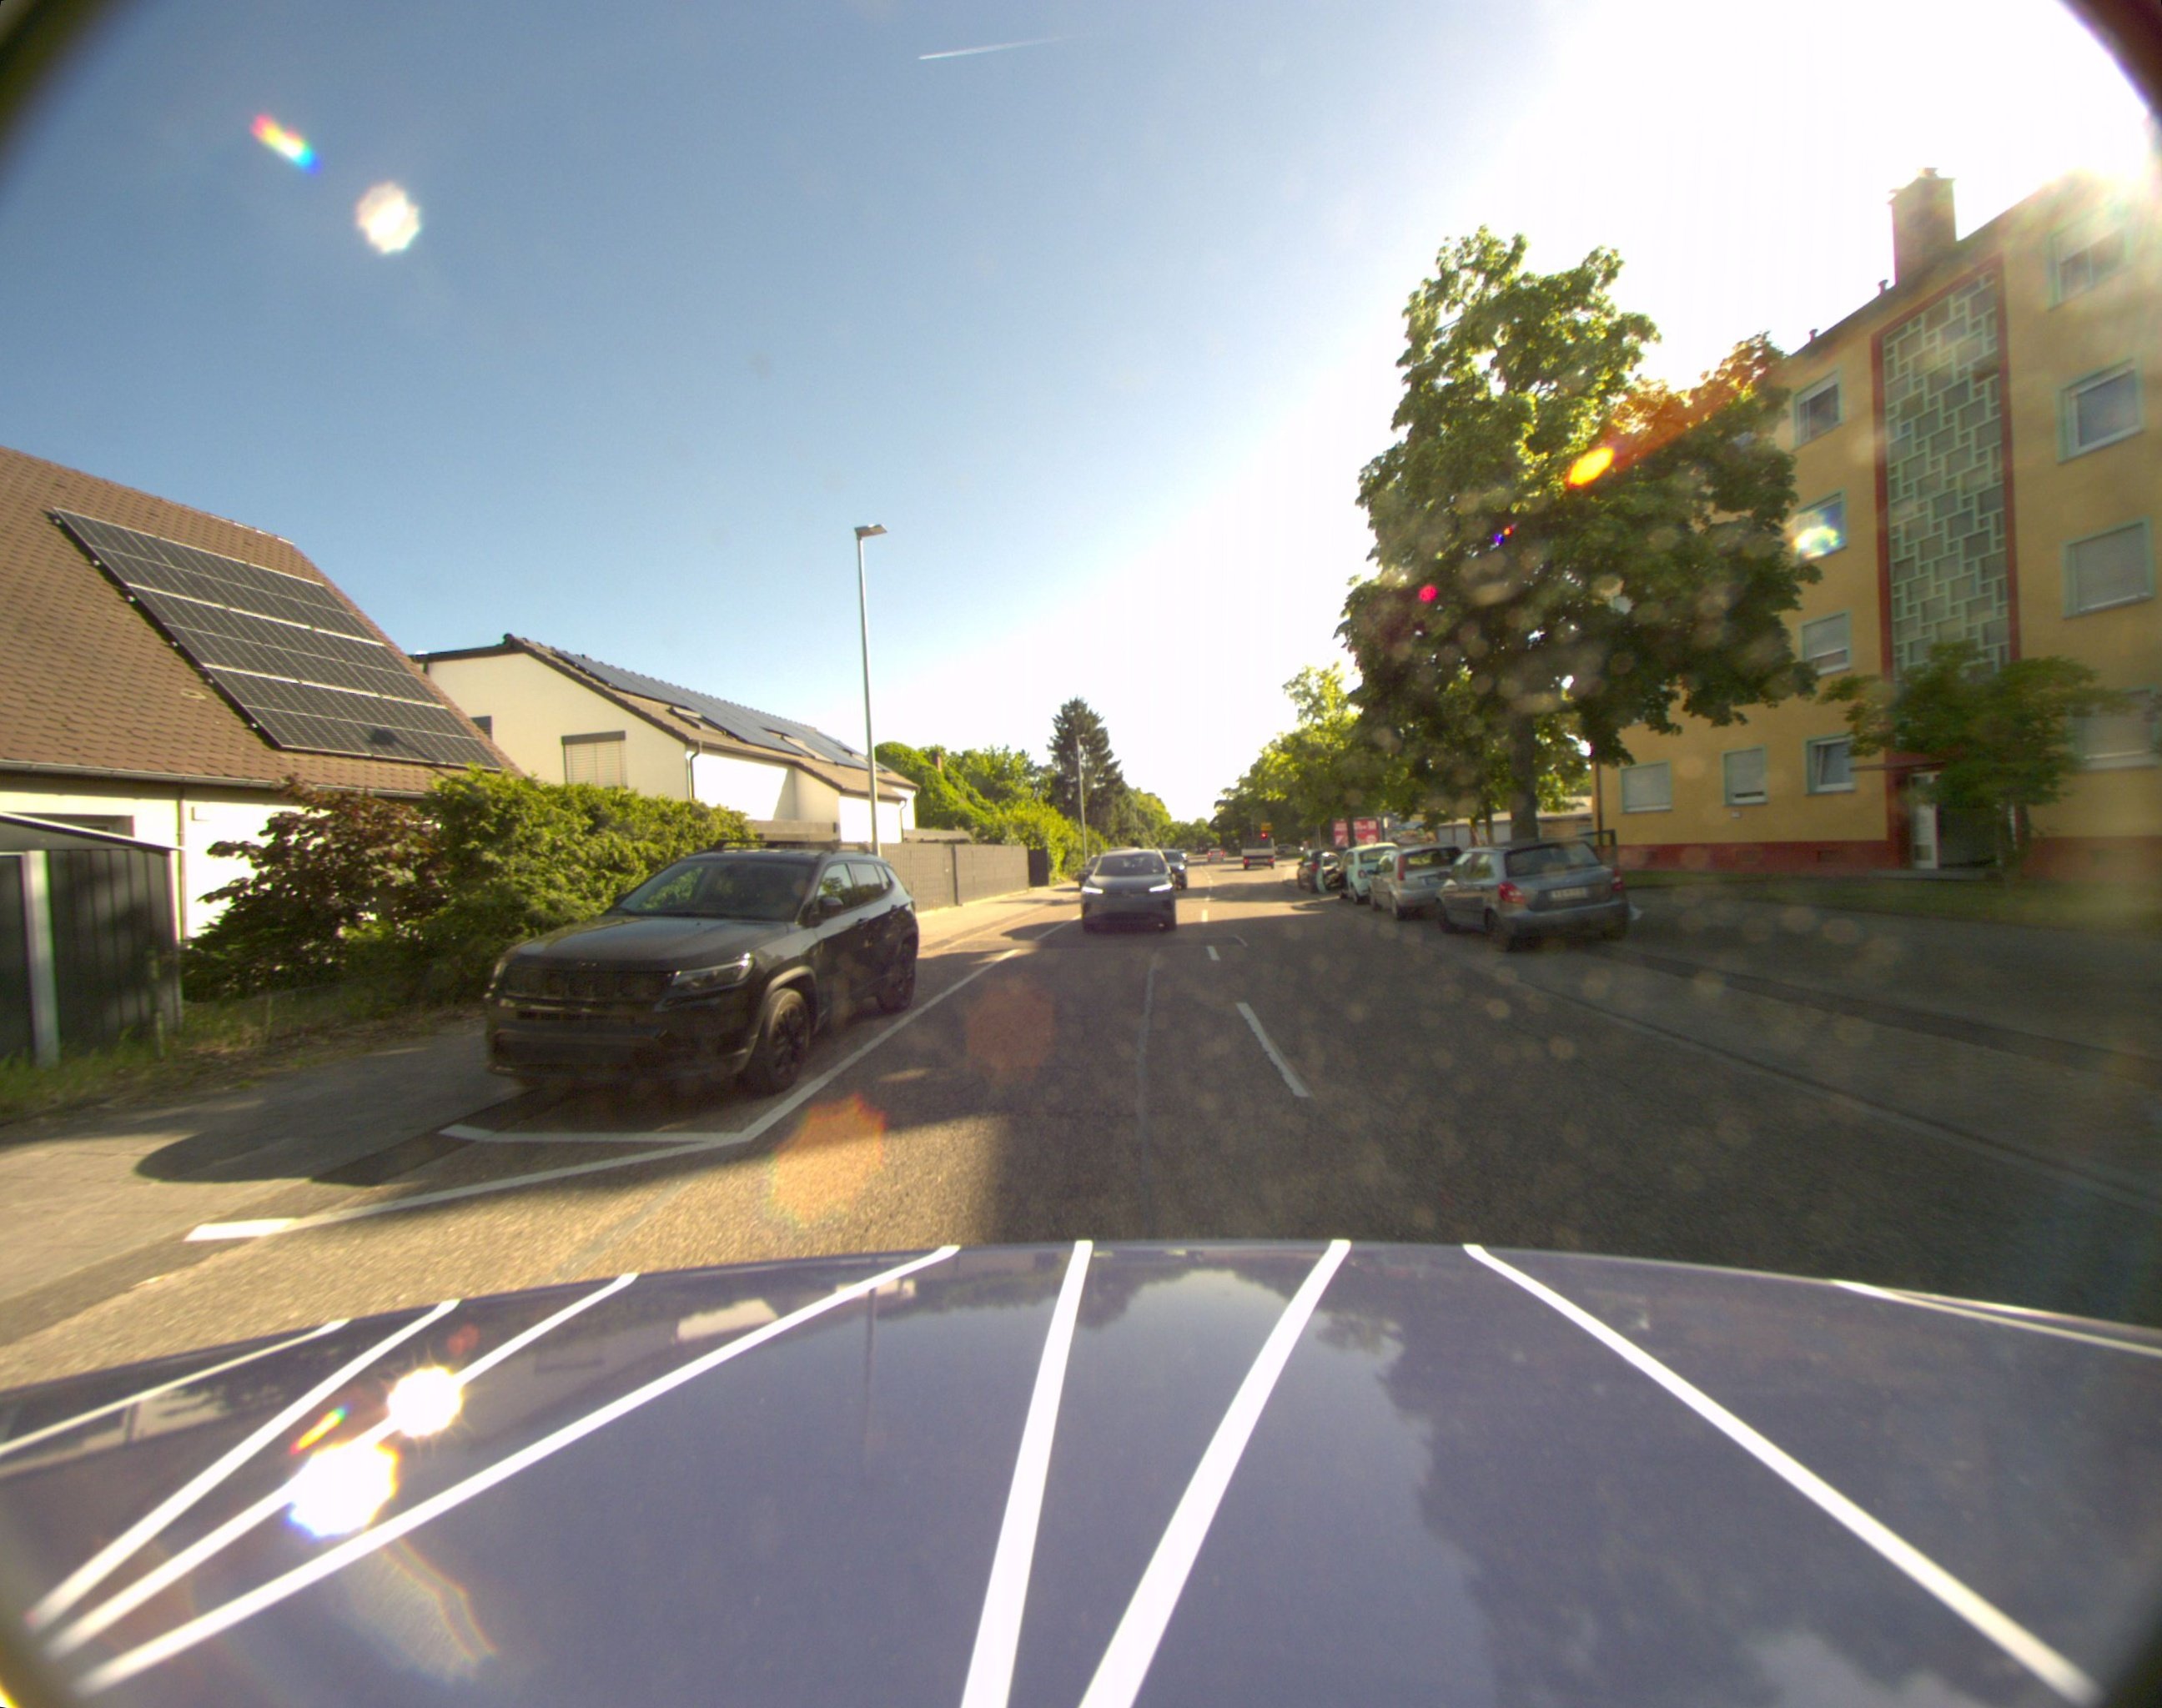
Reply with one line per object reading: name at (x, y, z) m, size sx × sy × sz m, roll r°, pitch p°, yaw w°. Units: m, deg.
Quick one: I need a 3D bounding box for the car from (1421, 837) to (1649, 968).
car at (6.617, 0.618, 11.590) m, size 1.570 × 1.521 × 3.921 m, roll -6°, pitch -1°, yaw 10°

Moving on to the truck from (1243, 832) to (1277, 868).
truck at (12.649, -0.299, 53.419) m, size 2.132 × 2.321 × 6.449 m, roll -1°, pitch 1°, yaw 15°

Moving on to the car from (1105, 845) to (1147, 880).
car at (2.727, 0.468, 45.125) m, size 1.840 × 1.896 × 4.701 m, roll -3°, pitch 0°, yaw 10°

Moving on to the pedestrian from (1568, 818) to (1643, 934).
pedestrian at (7.988, 0.313, 11.594) m, size 0.687 × 1.709 × 0.720 m, roll -2°, pitch 3°, yaw 9°

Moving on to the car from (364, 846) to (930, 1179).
car at (-2.760, 0.846, 6.189) m, size 1.781 × 1.714 × 4.295 m, roll -2°, pitch 1°, yaw 5°

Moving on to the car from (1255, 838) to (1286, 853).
car at (27.746, -1.201, 111.564) m, size 3.996 × 2.002 × 2.000 m, roll -3°, pitch 1°, yaw 3°

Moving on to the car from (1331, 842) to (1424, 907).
car at (8.178, 0.498, 21.295) m, size 1.703 × 1.514 × 4.054 m, roll -1°, pitch 2°, yaw 11°

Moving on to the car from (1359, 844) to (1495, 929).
car at (7.297, 0.601, 16.432) m, size 1.660 × 1.501 × 4.003 m, roll -4°, pitch 0°, yaw 10°

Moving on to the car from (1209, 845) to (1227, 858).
car at (16.169, -0.316, 89.748) m, size 1.840 × 1.480 × 4.892 m, roll -2°, pitch 0°, yaw 8°

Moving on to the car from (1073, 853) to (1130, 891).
car at (0.998, 0.738, 33.166) m, size 1.768 × 1.471 × 4.995 m, roll -1°, pitch 0°, yaw 10°

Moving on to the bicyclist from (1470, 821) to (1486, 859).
bicyclist at (18.033, -0.627, 34.506) m, size 0.390 × 1.675 × 0.381 m, roll -3°, pitch 0°, yaw -23°

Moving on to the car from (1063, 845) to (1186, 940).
car at (1.087, 0.706, 16.277) m, size 1.991 × 1.631 × 4.367 m, roll -3°, pitch 1°, yaw 10°

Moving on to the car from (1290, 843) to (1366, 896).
car at (8.492, 0.484, 26.430) m, size 1.704 × 1.472 × 4.053 m, roll -4°, pitch 2°, yaw 7°
